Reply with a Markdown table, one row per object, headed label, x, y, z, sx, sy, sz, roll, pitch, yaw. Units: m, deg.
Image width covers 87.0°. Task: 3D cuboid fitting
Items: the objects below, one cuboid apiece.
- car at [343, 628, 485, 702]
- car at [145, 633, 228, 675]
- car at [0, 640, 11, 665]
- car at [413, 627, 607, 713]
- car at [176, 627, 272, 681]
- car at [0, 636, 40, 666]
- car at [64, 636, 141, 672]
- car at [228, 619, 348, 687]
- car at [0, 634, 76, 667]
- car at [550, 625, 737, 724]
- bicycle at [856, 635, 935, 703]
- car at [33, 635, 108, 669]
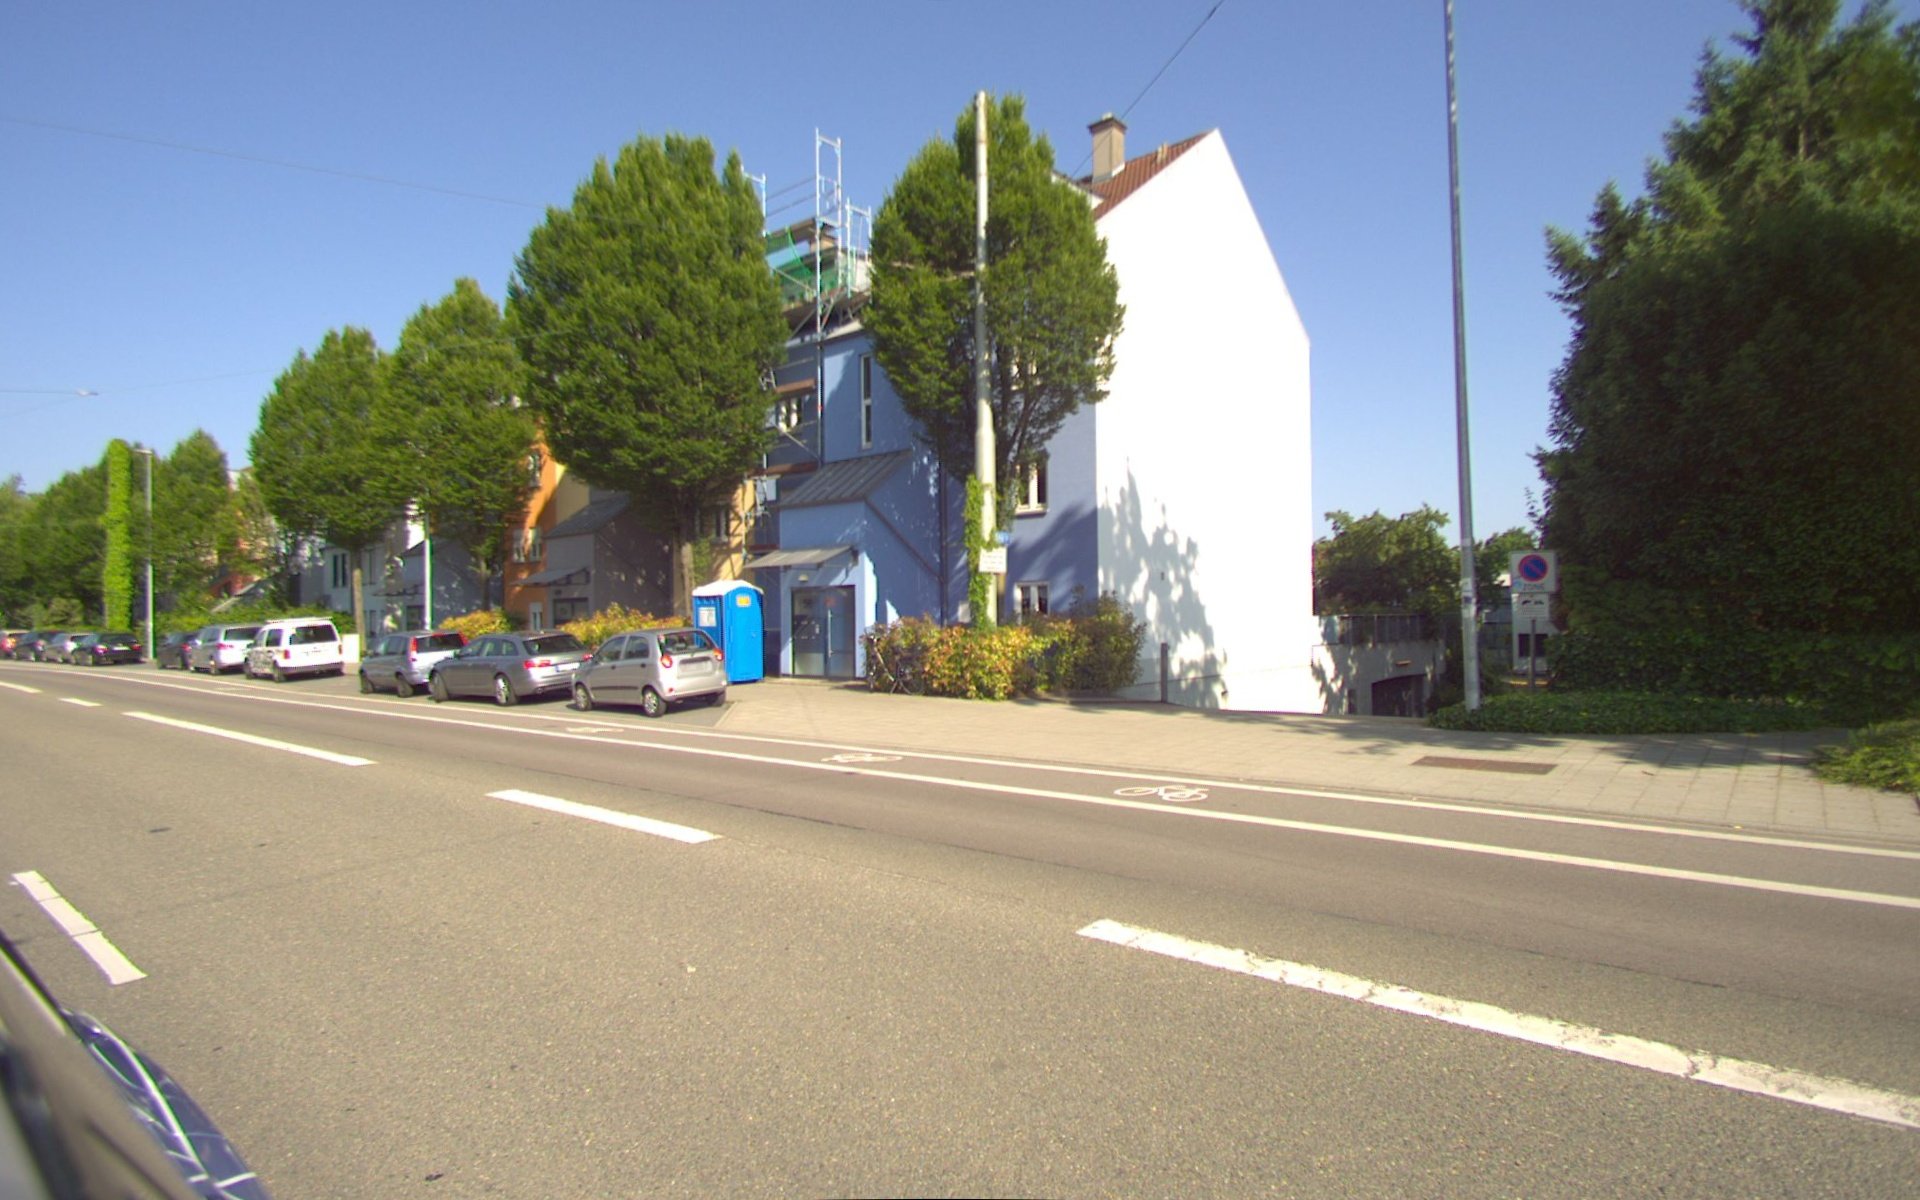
| label | x | y | z | sx | sy | sz | roll | pitch | yaw |
| --- | --- | --- | --- | --- | --- | --- | --- | --- | --- |
| car | -13.673 | 1.563 | 25.261 | 3.979 | 1.550 | 1.745 | -2 | 3 | 41 |
| car | -30.137 | 2.080 | 39.412 | 4.053 | 1.477 | 1.600 | -2 | 0 | 38 |
| car | -57.416 | 3.083 | 59.272 | 4.699 | 1.435 | 1.639 | -2 | -2 | 34 |
| car | -9.804 | 1.446 | 21.888 | 4.749 | 1.522 | 1.733 | -2 | 3 | 38 |
| car | -26.109 | 1.867 | 35.842 | 4.821 | 1.713 | 1.651 | -2 | 0 | 41 |
| car | -52.991 | 2.817 | 56.321 | 4.150 | 1.586 | 1.748 | -1 | -1 | 34 |
| car | -39.157 | 2.440 | 46.179 | 4.903 | 1.483 | 1.693 | -2 | 1 | 38 |
| car | -21.265 | 1.632 | 31.945 | 4.575 | 1.859 | 1.746 | -2 | 3 | 39 |
| car | -48.226 | 2.632 | 52.888 | 4.420 | 1.586 | 1.750 | -2 | 0 | 31 |
| car | -5.899 | 1.308 | 18.694 | 3.506 | 1.505 | 1.585 | -2 | 3 | 40 |
| bicycle | -1.217 | 1.253 | 18.773 | 0.438 | 1.163 | 1.786 | 0 | -1 | -43 |
| car | -43.827 | 2.530 | 49.834 | 4.833 | 1.482 | 1.698 | -1 | 1 | 35 |
